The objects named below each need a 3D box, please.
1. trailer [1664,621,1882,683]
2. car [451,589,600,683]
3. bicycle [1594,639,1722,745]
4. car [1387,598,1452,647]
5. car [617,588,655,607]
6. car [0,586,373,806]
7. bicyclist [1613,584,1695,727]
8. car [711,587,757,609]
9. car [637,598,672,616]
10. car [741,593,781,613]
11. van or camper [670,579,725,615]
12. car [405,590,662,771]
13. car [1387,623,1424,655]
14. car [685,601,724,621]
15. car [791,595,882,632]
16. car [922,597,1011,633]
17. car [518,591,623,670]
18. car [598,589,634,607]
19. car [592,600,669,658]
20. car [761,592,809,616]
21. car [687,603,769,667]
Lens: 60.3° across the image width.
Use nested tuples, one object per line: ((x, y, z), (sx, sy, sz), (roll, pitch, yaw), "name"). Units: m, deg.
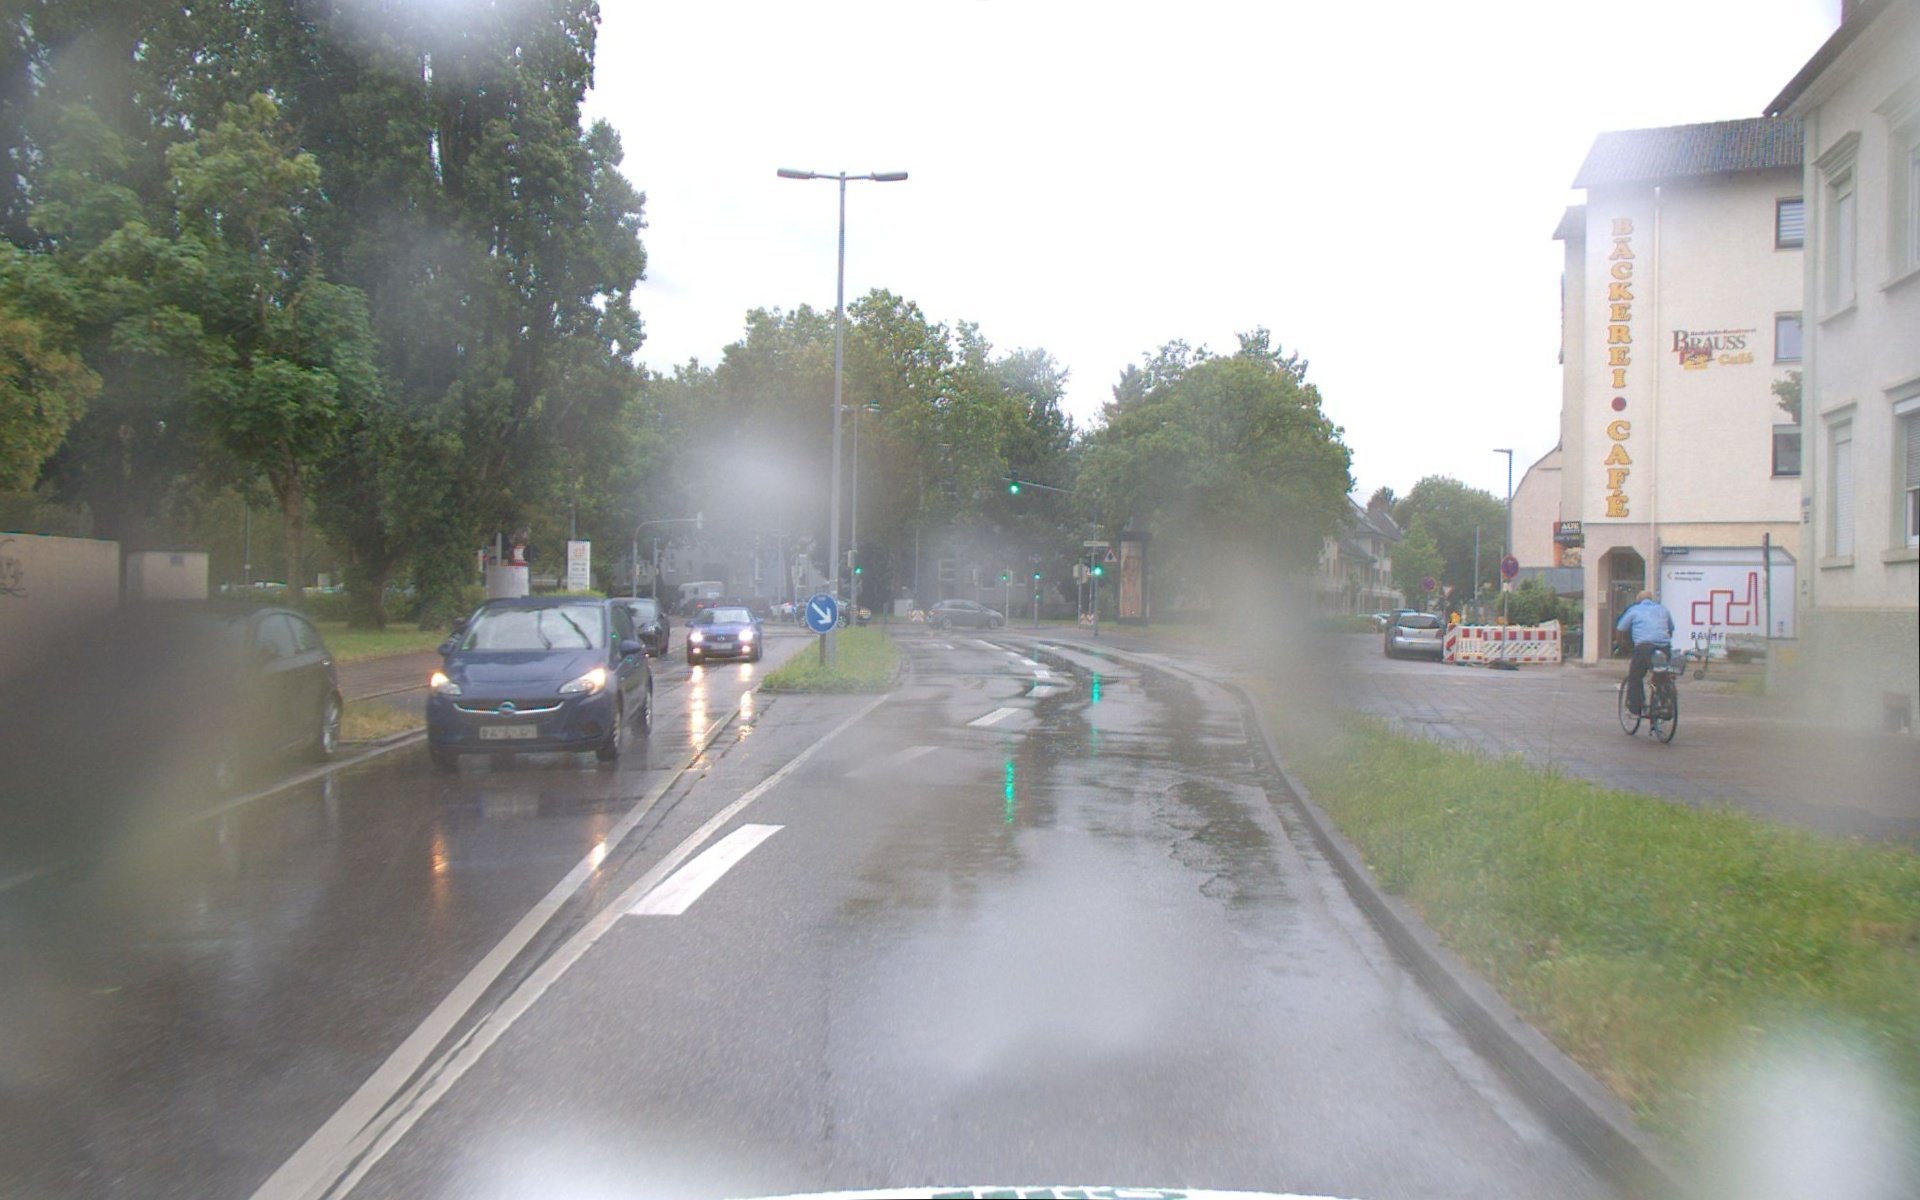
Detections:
((18.883, 1.187, 38.437), (4.435, 1.253, 1.821), (1, -1, 30), "trailer")
((-7.369, 0.585, 28.436), (1.693, 1.407, 4.176), (3, -1, -5), "car")
((8.052, 1.033, 19.163), (0.659, 1.078, 1.972), (2, 0, 1), "bicycle")
((14.747, 0.720, 53.273), (1.599, 1.458, 4.180), (1, -1, 10), "car")
((-29.741, -0.251, 151.587), (1.898, 1.648, 4.320), (2, -1, -33), "car")
((-6.268, 0.677, 13.490), (1.662, 1.470, 4.094), (2, -1, -4), "car")
((8.029, 0.627, 19.160), (0.625, 1.610, 0.716), (2, 0, 1), "bicyclist")
((-17.858, -0.132, 130.465), (1.898, 1.648, 4.402), (2, -1, -33), "car")
((-25.591, 0.592, 138.576), (1.690, 1.436, 3.604), (-1, 1, -32), "car")
((-15.186, 0.218, 126.290), (1.532, 1.414, 4.108), (2, -1, -30), "car")
((-22.175, -0.250, 139.397), (2.295, 2.856, 6.793), (2, -1, -30), "van or camper")
((-3.960, 0.692, 15.961), (1.672, 1.527, 3.943), (0, 0, -4), "car")
((24.461, 2.119, 90.653), (1.815, 1.683, 4.307), (1, -1, 17), "car")
((-19.487, 0.853, 125.974), (1.690, 1.436, 3.604), (-1, 1, -32), "car")
((-6.344, 0.707, 85.027), (4.200, 1.774, 2.001), (2, -1, 16), "car")
((0.312, 0.744, 82.171), (4.012, 1.630, 1.990), (2, -1, -18), "car")
((-8.038, 0.607, 34.427), (1.571, 1.500, 4.117), (2, -1, -6), "car")
((-32.509, -0.212, 156.351), (1.898, 1.648, 4.320), (2, -1, -33), "car")
((-8.849, 0.764, 44.721), (1.514, 1.422, 4.190), (3, -1, -5), "car")
((-11.379, 0.246, 107.384), (1.690, 1.436, 3.604), (-1, 1, -32), "car")
((-5.588, 0.816, 40.176), (1.693, 1.418, 3.946), (-2, 0, -5), "car")
